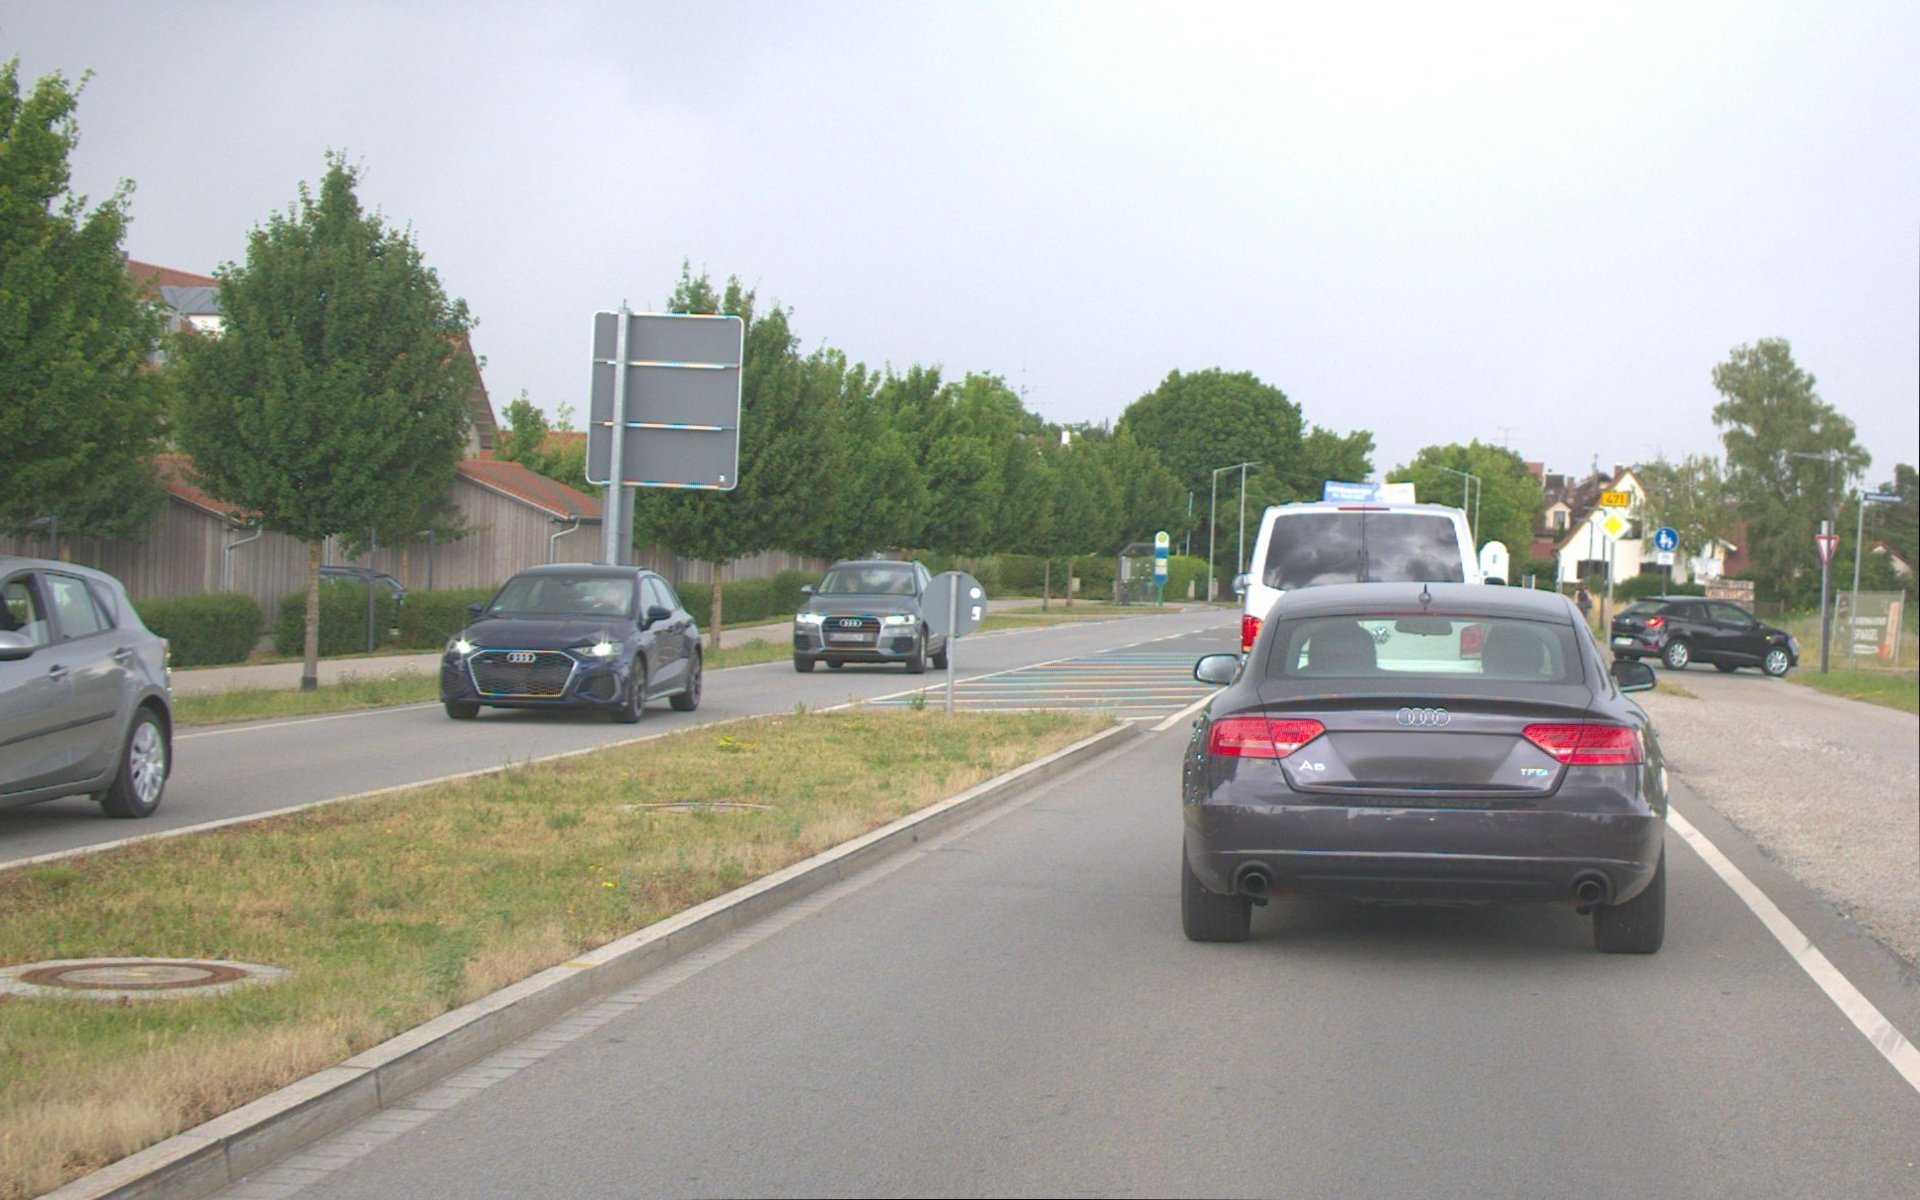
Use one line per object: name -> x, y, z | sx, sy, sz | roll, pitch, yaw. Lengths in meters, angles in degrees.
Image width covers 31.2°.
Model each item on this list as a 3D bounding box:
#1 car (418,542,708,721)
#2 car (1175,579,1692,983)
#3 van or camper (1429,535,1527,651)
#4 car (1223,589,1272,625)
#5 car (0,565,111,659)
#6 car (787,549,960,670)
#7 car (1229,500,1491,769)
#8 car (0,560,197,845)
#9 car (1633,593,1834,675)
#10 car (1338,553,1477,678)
car -> -3.694, 0.265, 32.674 | 1.867, 1.568, 3.999 | 1, 0, 6
car -> 1.864, 0.632, 14.152 | 1.784, 1.387, 4.132 | 1, 0, 6
van or camper -> 15.731, -0.178, 104.756 | 2.625, 3.312, 6.819 | 3, 0, 7
car -> 12.776, 0.308, 152.869 | 1.994, 1.503, 4.000 | 3, 0, 3
car -> -16.598, 0.152, 58.621 | 3.730, 1.477, 1.686 | 3, 1, 5
car -> -1.176, 0.118, 48.687 | 1.867, 1.568, 3.999 | 3, 1, 6
car -> 3.074, 0.246, 26.714 | 1.867, 1.927, 3.999 | 0, 0, 6
car -> -5.525, 0.489, 17.677 | 1.730, 1.405, 4.204 | 1, 0, 8
car -> 14.739, 0.649, 65.510 | 3.500, 1.368, 1.444 | 3, 0, -23
car -> 6.330, 0.197, 48.381 | 1.777, 1.612, 3.998 | 3, 1, 9
